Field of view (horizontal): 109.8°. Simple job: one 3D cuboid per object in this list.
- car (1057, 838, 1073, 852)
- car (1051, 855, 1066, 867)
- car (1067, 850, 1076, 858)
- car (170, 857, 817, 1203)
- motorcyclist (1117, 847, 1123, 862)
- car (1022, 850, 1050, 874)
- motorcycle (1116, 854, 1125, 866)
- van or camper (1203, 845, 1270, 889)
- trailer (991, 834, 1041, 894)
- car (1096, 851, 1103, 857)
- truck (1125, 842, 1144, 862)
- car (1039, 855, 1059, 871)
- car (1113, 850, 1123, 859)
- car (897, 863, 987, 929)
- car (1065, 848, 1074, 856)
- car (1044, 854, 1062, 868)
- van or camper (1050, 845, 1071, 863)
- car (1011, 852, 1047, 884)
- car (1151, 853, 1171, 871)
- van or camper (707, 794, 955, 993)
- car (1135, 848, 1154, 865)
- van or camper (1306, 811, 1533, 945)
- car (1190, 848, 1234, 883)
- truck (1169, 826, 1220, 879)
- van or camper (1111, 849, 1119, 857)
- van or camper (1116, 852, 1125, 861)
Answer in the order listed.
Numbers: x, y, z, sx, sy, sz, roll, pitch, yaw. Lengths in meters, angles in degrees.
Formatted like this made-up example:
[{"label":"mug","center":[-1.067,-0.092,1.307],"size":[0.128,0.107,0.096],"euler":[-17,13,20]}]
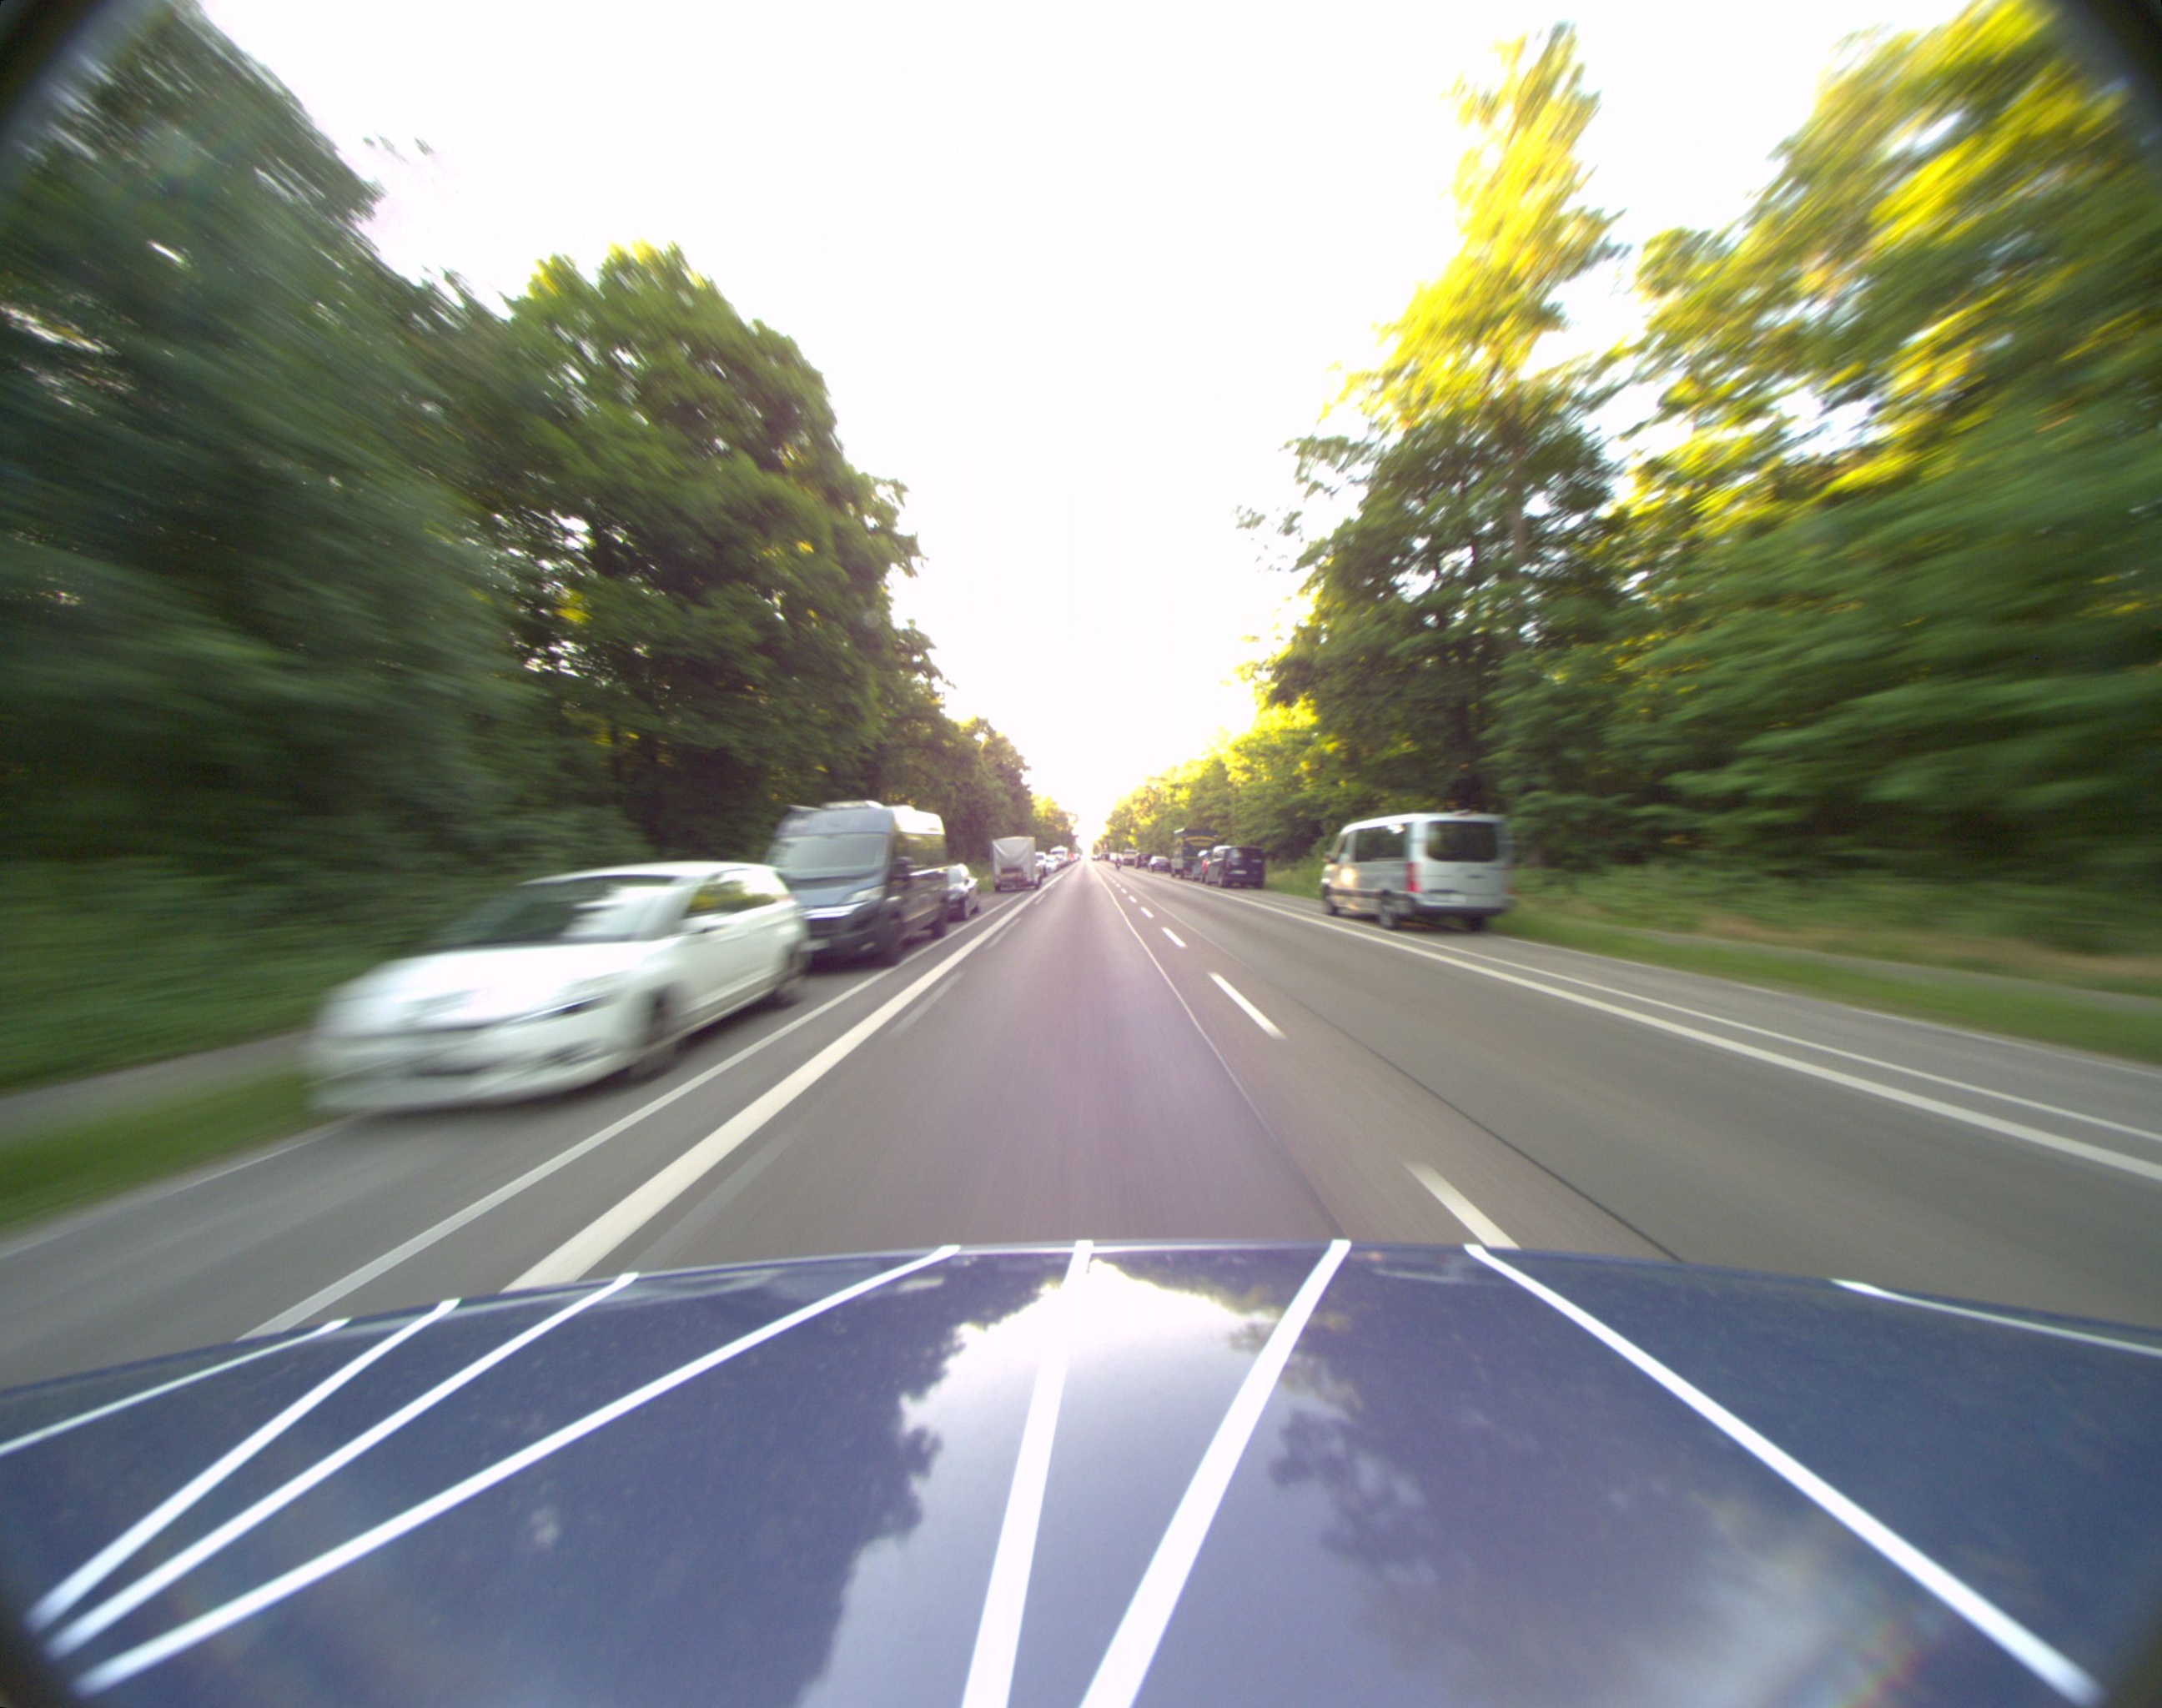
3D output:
[{"label":"car","center":[-2.769,-1.549,130.354],"size":[2.537,2.270,5.554],"euler":[-1,0,1]},{"label":"car","center":[-2.923,0.914,100.448],"size":[1.844,1.585,4.196],"euler":[-1,0,1]},{"label":"car","center":[-1.909,0.040,154.599],"size":[1.844,1.585,4.196],"euler":[-1,0,1]},{"label":"car","center":[-3.982,0.956,6.476],"size":[1.856,1.754,4.723],"euler":[-3,0,-2]},{"label":"motorcyclist","center":[4.273,0.067,83.577],"size":[0.558,1.614,0.875],"euler":[-1,1,1]},{"label":"car","center":[-3.653,0.633,62.349],"size":[1.976,1.908,4.196],"euler":[-1,0,1]},{"label":"motorcycle","center":[4.362,0.644,83.484],"size":[0.842,1.301,2.433],"euler":[-1,0,1]},{"label":"van or camper","center":[7.386,0.576,36.606],"size":[2.034,1.945,4.691],"euler":[2,0,-2]},{"label":"trailer","center":[-3.026,0.415,36.353],"size":[1.866,2.633,4.269],"euler":[-2,1,0]},{"label":"car","center":[5.723,-0.011,232.226],"size":[1.998,1.849,3.999],"euler":[-2,1,1]},{"label":"truck","center":[8.484,-0.316,121.464],"size":[2.654,3.039,5.800],"euler":[-2,1,1]},{"label":"car","center":[-3.296,0.918,79.238],"size":[1.844,1.585,4.196],"euler":[-1,0,1]},{"label":"car","center":[8.352,0.078,172.871],"size":[1.998,1.893,4.000],"euler":[-2,1,1]},{"label":"car","center":[-3.665,1.056,20.805],"size":[1.607,1.468,4.533],"euler":[-3,0,-1]},{"label":"car","center":[-2.738,-0.484,179.065],"size":[1.844,2.007,4.196],"euler":[-1,0,1]},{"label":"car","center":[-3.247,0.779,88.144],"size":[1.844,1.585,4.196],"euler":[-1,0,1]},{"label":"van or camper","center":[-3.216,0.007,120.834],"size":[3.015,2.704,6.960],"euler":[-1,0,1]},{"label":"car","center":[-2.949,0.759,43.787],"size":[1.754,1.731,4.196],"euler":[-1,0,1]},{"label":"car","center":[7.308,0.728,69.953],"size":[1.606,1.495,3.760],"euler":[2,0,3]},{"label":"van or camper","center":[-3.785,0.518,13.003],"size":[2.132,2.526,6.060],"euler":[-2,0,0]},{"label":"car","center":[7.704,0.257,91.833],"size":[1.852,1.948,3.934],"euler":[2,0,-1]},{"label":"van or camper","center":[7.119,0.427,17.050],"size":[2.116,2.376,6.380],"euler":[2,0,-1]},{"label":"car","center":[7.322,0.608,42.775],"size":[1.607,1.816,3.758],"euler":[2,0,-2]},{"label":"truck","center":[7.374,-0.095,49.921],"size":[2.226,3.189,6.270],"euler":[2,0,-1]},{"label":"van or camper","center":[8.945,-0.253,198.586],"size":[1.844,2.264,4.196],"euler":[-1,0,1]},{"label":"van or camper","center":[8.273,0.498,159.864],"size":[1.844,1.965,4.196],"euler":[-1,0,1]}]
